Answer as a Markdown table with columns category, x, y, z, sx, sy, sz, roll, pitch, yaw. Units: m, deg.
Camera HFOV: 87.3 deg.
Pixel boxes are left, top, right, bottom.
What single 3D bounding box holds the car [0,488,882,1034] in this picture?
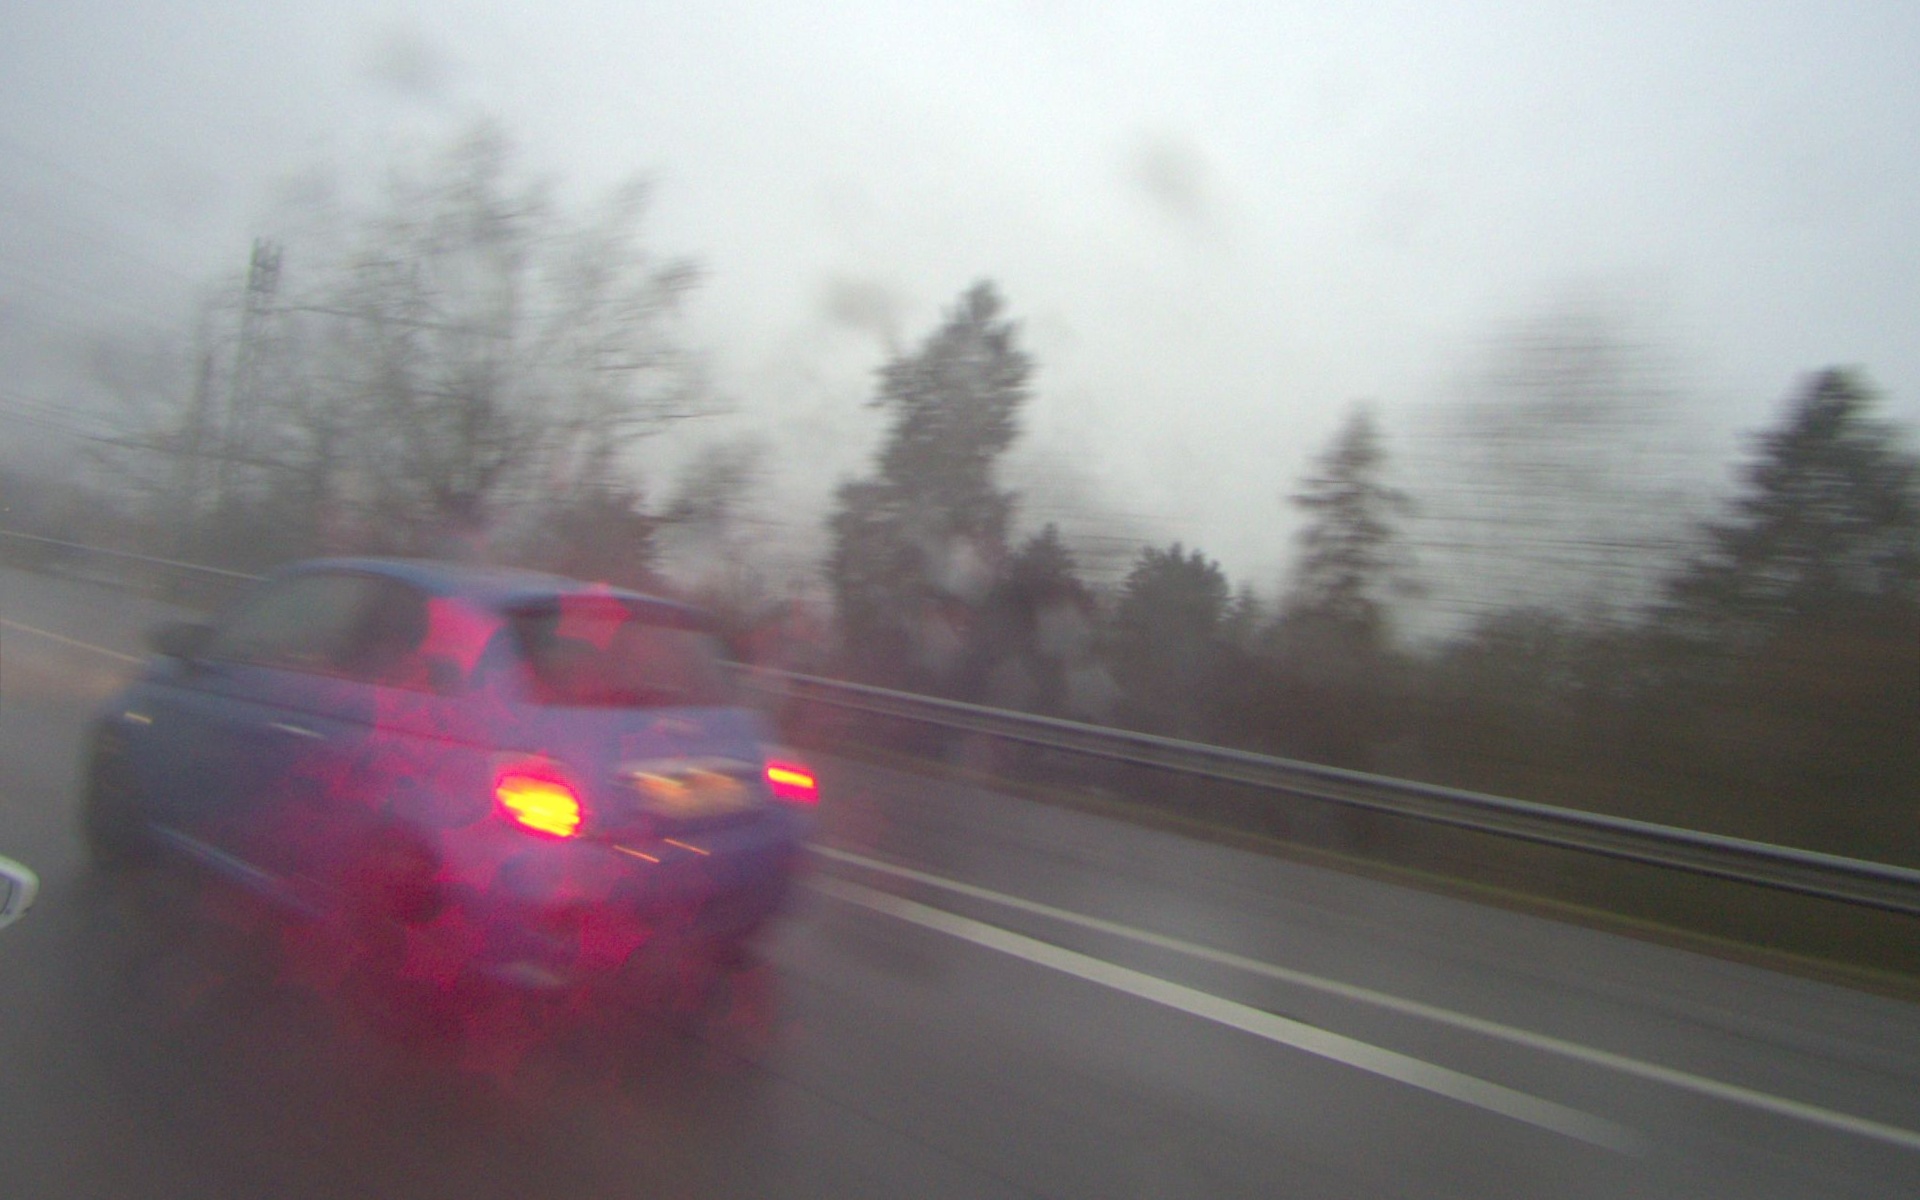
| category | x | y | z | sx | sy | sz | roll | pitch | yaw |
| --- | --- | --- | --- | --- | --- | --- | --- | --- | --- |
| car | -2.625 | 0.421 | 4.712 | 4.080 | 1.470 | 1.849 | 5 | -2 | 31 |
